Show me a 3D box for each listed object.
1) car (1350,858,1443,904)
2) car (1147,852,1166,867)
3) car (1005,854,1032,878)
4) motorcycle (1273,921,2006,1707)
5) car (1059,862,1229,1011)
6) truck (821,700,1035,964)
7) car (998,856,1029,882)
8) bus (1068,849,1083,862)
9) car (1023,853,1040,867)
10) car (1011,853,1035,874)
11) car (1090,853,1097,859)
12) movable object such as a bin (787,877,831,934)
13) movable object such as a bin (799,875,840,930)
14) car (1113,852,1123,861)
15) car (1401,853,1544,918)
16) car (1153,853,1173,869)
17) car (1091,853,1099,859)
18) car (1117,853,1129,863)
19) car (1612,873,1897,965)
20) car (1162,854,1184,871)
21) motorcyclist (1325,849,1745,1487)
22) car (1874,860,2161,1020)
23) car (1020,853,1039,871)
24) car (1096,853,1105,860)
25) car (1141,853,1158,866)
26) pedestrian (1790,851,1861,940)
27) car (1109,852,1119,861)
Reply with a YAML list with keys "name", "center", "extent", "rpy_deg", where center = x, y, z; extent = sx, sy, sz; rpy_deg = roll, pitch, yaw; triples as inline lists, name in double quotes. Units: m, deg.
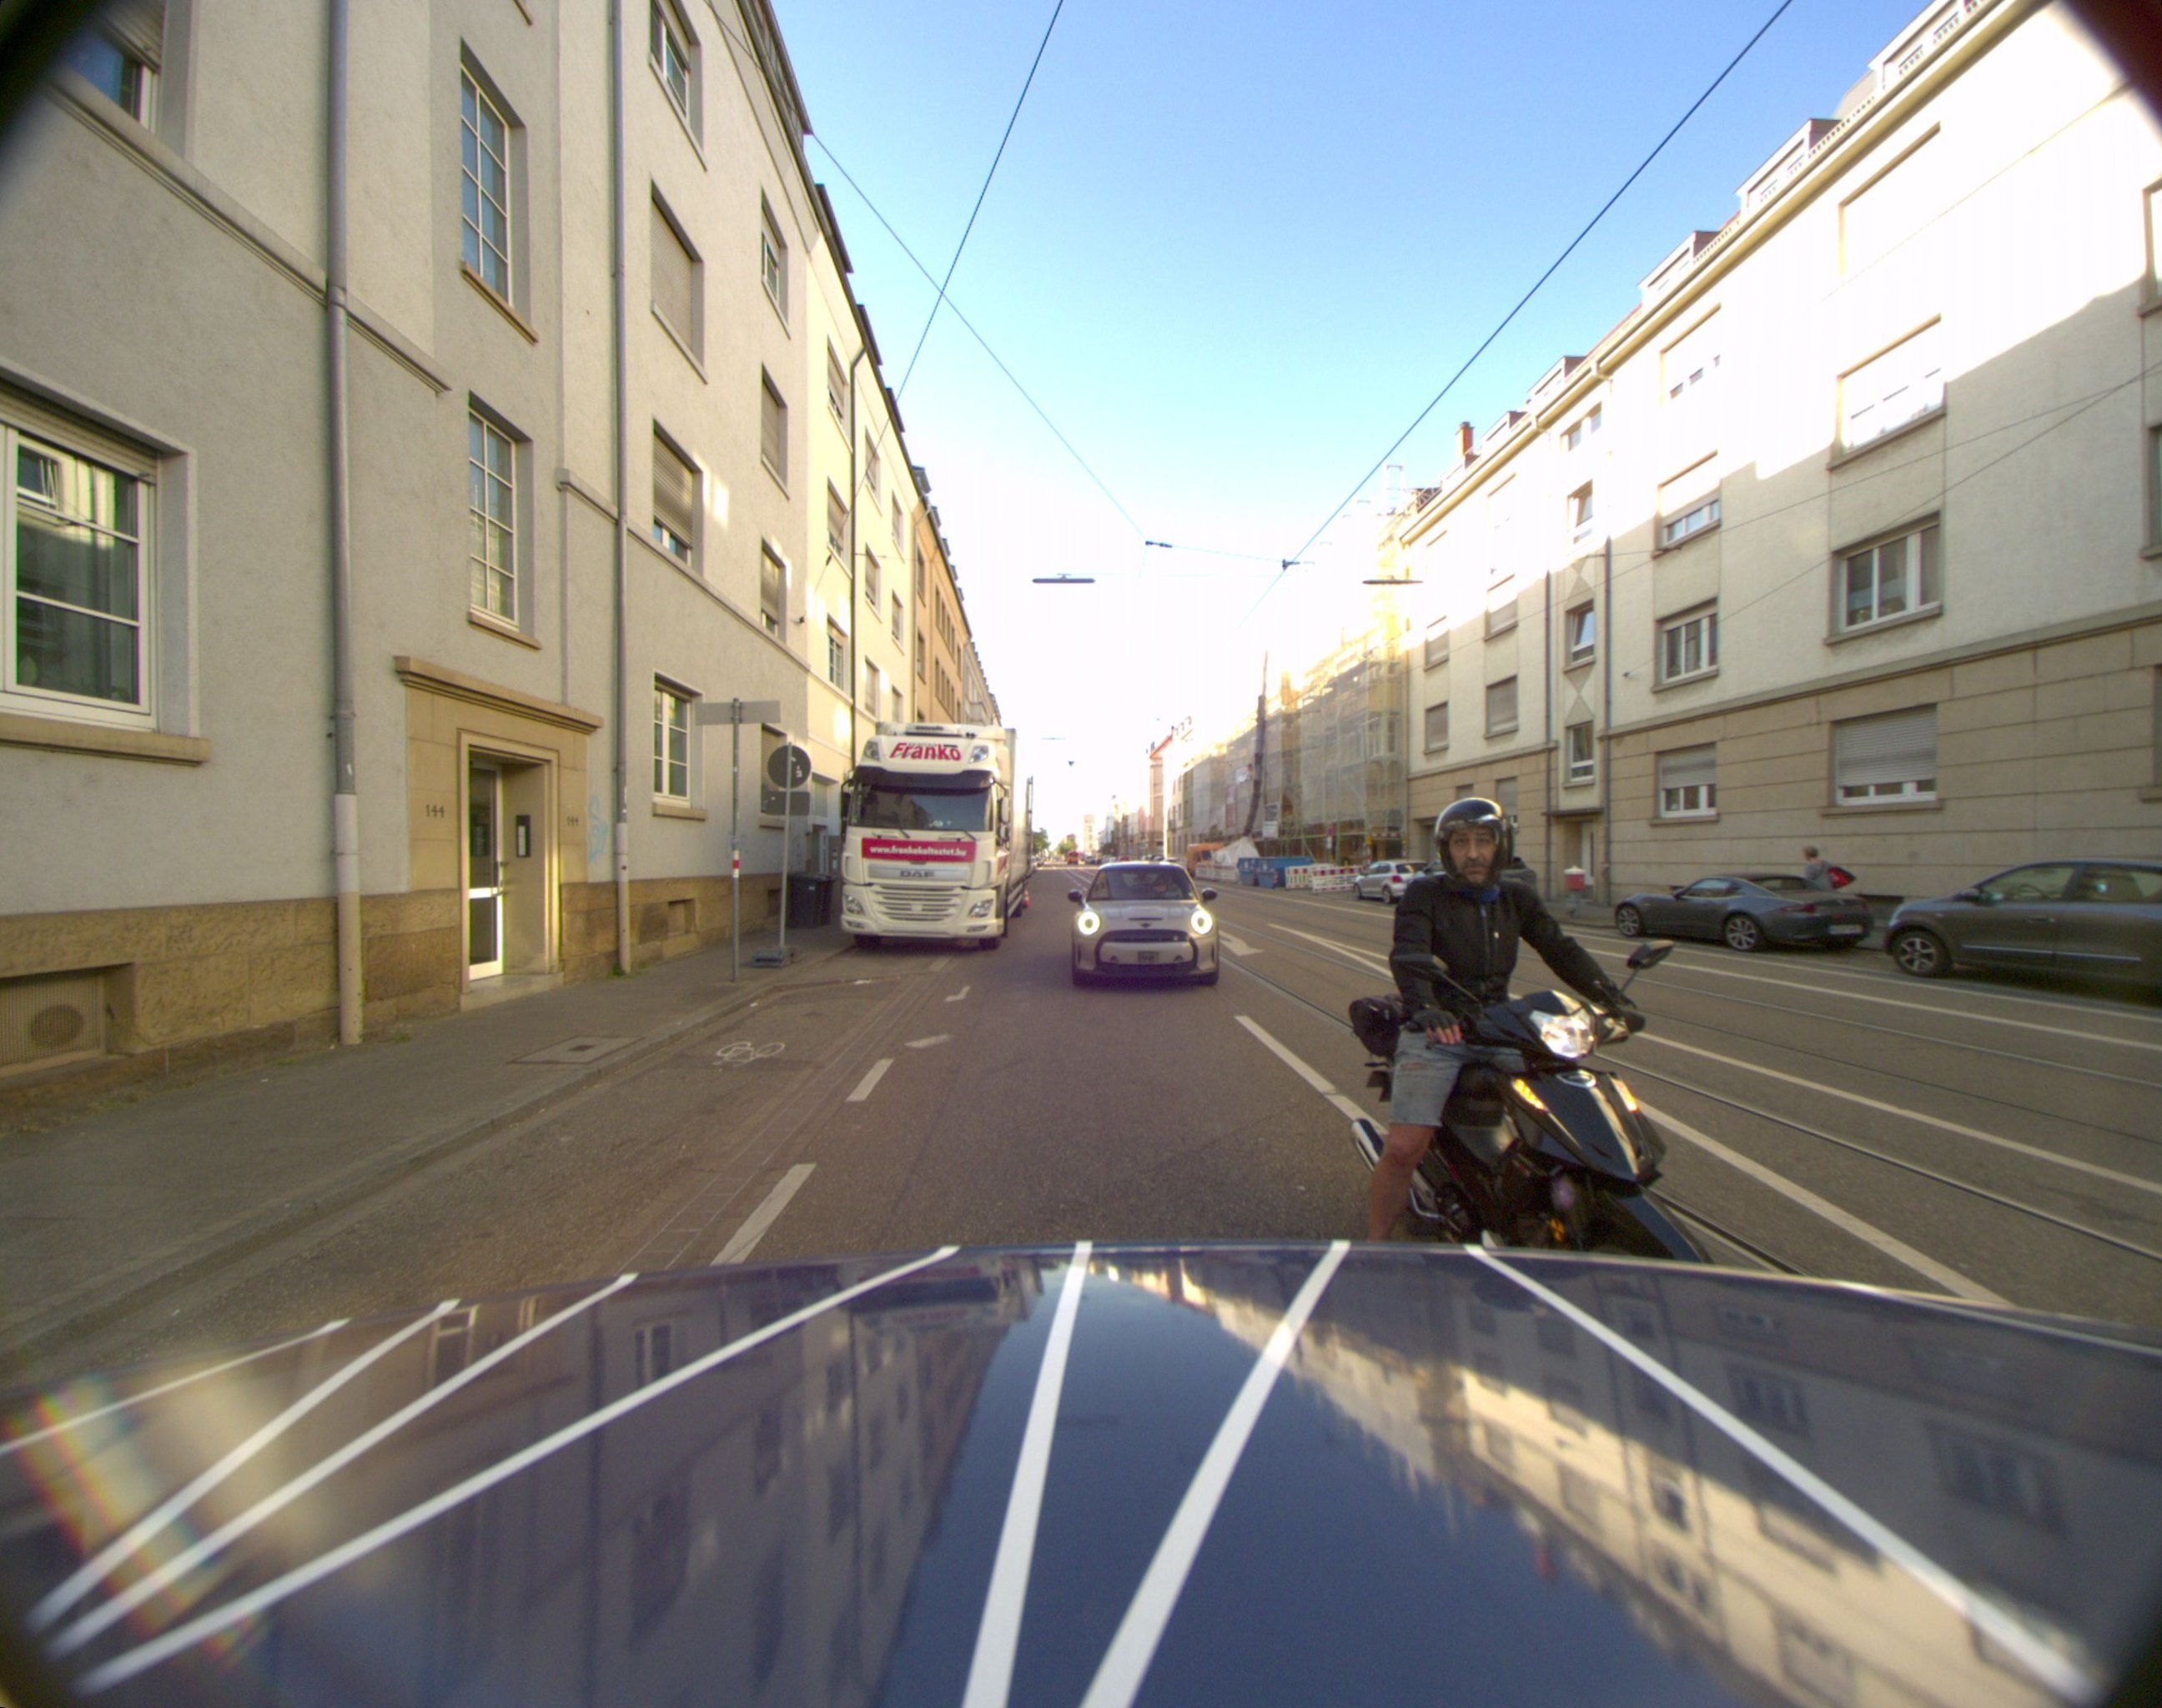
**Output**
- name: "car"
  center: [10.611, 0.874, 25.792]
  extent: [1.543, 1.404, 3.510]
  rpy_deg: [-1, 0, -3]
- name: "car"
  center: [8.247, 0.605, 83.196]
  extent: [1.684, 1.573, 3.966]
  rpy_deg: [-2, 0, 1]
- name: "car"
  center: [-4.301, 0.820, 53.003]
  extent: [1.685, 1.522, 4.148]
  rpy_deg: [-2, 0, -3]
- name: "motorcycle"
  center: [1.309, 0.968, 2.533]
  extent: [0.791, 1.284, 2.273]
  rpy_deg: [0, 0, 1]
- name: "car"
  center: [0.612, 0.887, 10.049]
  extent: [1.685, 1.454, 4.148]
  rpy_deg: [-2, 0, -3]
- name: "truck"
  center: [-2.625, -0.327, 17.193]
  extent: [2.782, 3.903, 11.816]
  rpy_deg: [0, 0, -2]
- name: "car"
  center: [-4.174, 0.888, 47.200]
  extent: [1.685, 1.522, 4.148]
  rpy_deg: [-2, 0, -3]
- name: "bus"
  center: [-1.518, 0.305, 198.064]
  extent: [2.755, 3.095, 19.156]
  rpy_deg: [0, 0, -3]
- name: "car"
  center: [-5.348, 0.637, 82.757]
  extent: [1.685, 1.522, 4.148]
  rpy_deg: [-2, 0, -3]
- name: "car"
  center: [-4.509, 0.737, 59.171]
  extent: [1.685, 1.522, 4.148]
  rpy_deg: [-2, 0, -3]
- name: "car"
  center: [3.316, 0.567, 206.902]
  extent: [1.684, 1.478, 3.965]
  rpy_deg: [-2, 0, -1]
- name: "movable object such as a bin"
  center: [-5.382, 1.001, 15.053]
  extent: [0.666, 1.087, 0.570]
  rpy_deg: [0, 1, -2]
- name: "movable object such as a bin"
  center: [-5.399, 0.992, 15.722]
  extent: [0.666, 1.087, 0.570]
  rpy_deg: [0, 1, -2]
- name: "car"
  center: [6.535, 0.449, 134.414]
  extent: [1.684, 1.478, 3.966]
  rpy_deg: [-2, 0, 1]
- name: "car"
  center: [10.812, 0.799, 21.343]
  extent: [1.696, 1.590, 4.206]
  rpy_deg: [-1, 0, -3]
- name: "car"
  center: [8.269, 0.694, 76.822]
  extent: [1.684, 1.478, 3.966]
  rpy_deg: [-2, 0, 1]
- name: "car"
  center: [3.541, 0.588, 191.759]
  extent: [1.684, 1.478, 3.965]
  rpy_deg: [-2, 0, -1]
- name: "car"
  center: [6.602, 0.609, 118.648]
  extent: [1.684, 1.478, 3.966]
  rpy_deg: [-2, 0, 1]
- name: "car"
  center: [11.180, 0.994, 12.994]
  extent: [1.520, 1.227, 3.685]
  rpy_deg: [-1, 0, -3]
- name: "car"
  center: [8.574, 0.750, 71.125]
  extent: [1.684, 1.478, 3.966]
  rpy_deg: [-2, 0, 1]
- name: "motorcyclist"
  center: [1.309, 0.812, 2.403]
  extent: [0.791, 1.645, 0.900]
  rpy_deg: [0, 1, 1]
- name: "car"
  center: [11.417, 0.854, 8.332]
  extent: [1.679, 1.519, 3.539]
  rpy_deg: [-1, 0, -3]
- name: "car"
  center: [-4.854, 0.738, 72.111]
  extent: [1.685, 1.522, 4.148]
  rpy_deg: [-2, 0, -3]
- name: "car"
  center: [4.263, 0.599, 167.825]
  extent: [1.684, 1.478, 3.965]
  rpy_deg: [-2, 0, -1]
- name: "car"
  center: [7.936, 0.641, 87.892]
  extent: [1.684, 1.478, 3.966]
  rpy_deg: [-2, 0, 1]
- name: "pedestrian"
  center: [13.262, 0.720, 13.554]
  extent: [0.570, 1.532, 0.693]
  rpy_deg: [0, 1, -2]
- name: "car"
  center: [5.962, 0.428, 139.356]
  extent: [1.684, 1.478, 3.966]
  rpy_deg: [-2, 0, 1]
